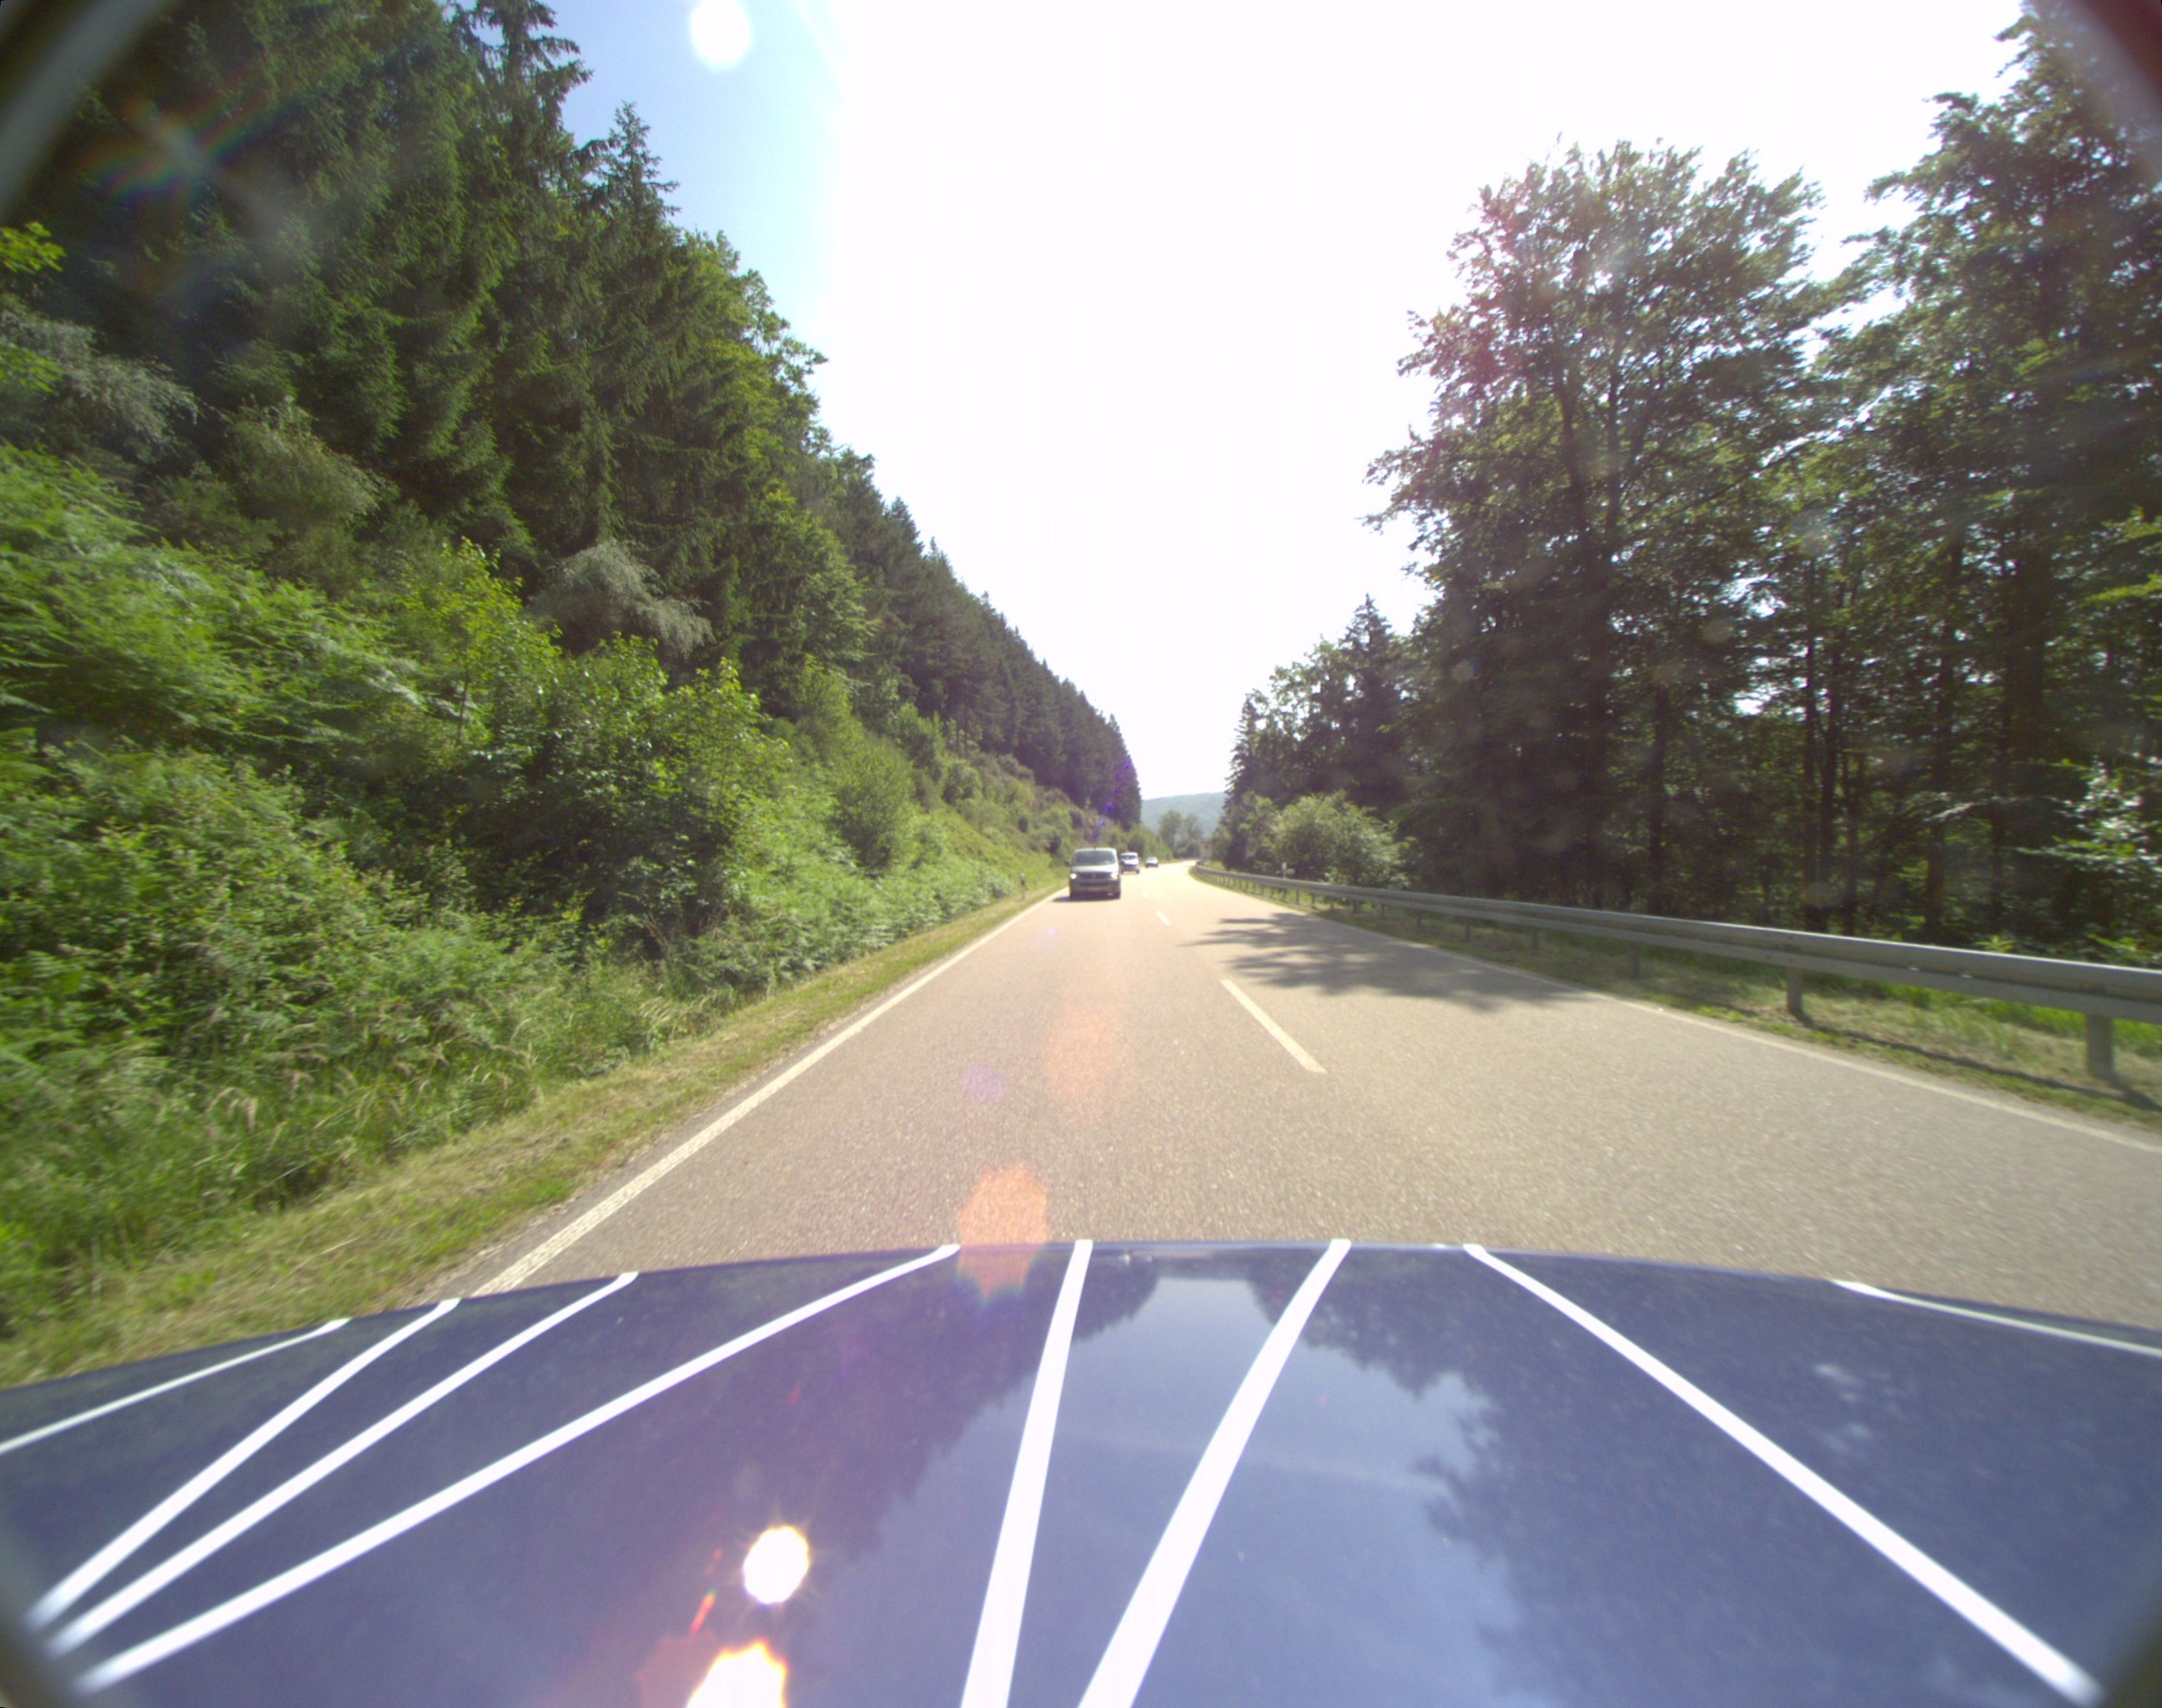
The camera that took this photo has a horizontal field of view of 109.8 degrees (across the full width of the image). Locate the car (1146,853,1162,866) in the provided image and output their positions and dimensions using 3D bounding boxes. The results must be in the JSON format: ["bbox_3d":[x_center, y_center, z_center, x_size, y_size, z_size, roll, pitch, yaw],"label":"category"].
[{"bbox_3d":[10.179,0.746,106.169,1.997,1.718,4.003,0,0,9],"label":"car"}]

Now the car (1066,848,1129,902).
[{"bbox_3d":[0.727,0.758,29.510,1.989,1.899,4.762,-1,0,6],"label":"car"}]

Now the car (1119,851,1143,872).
[{"bbox_3d":[4.648,0.693,70.073,2.136,1.824,4.724,-1,0,5],"label":"car"}]
